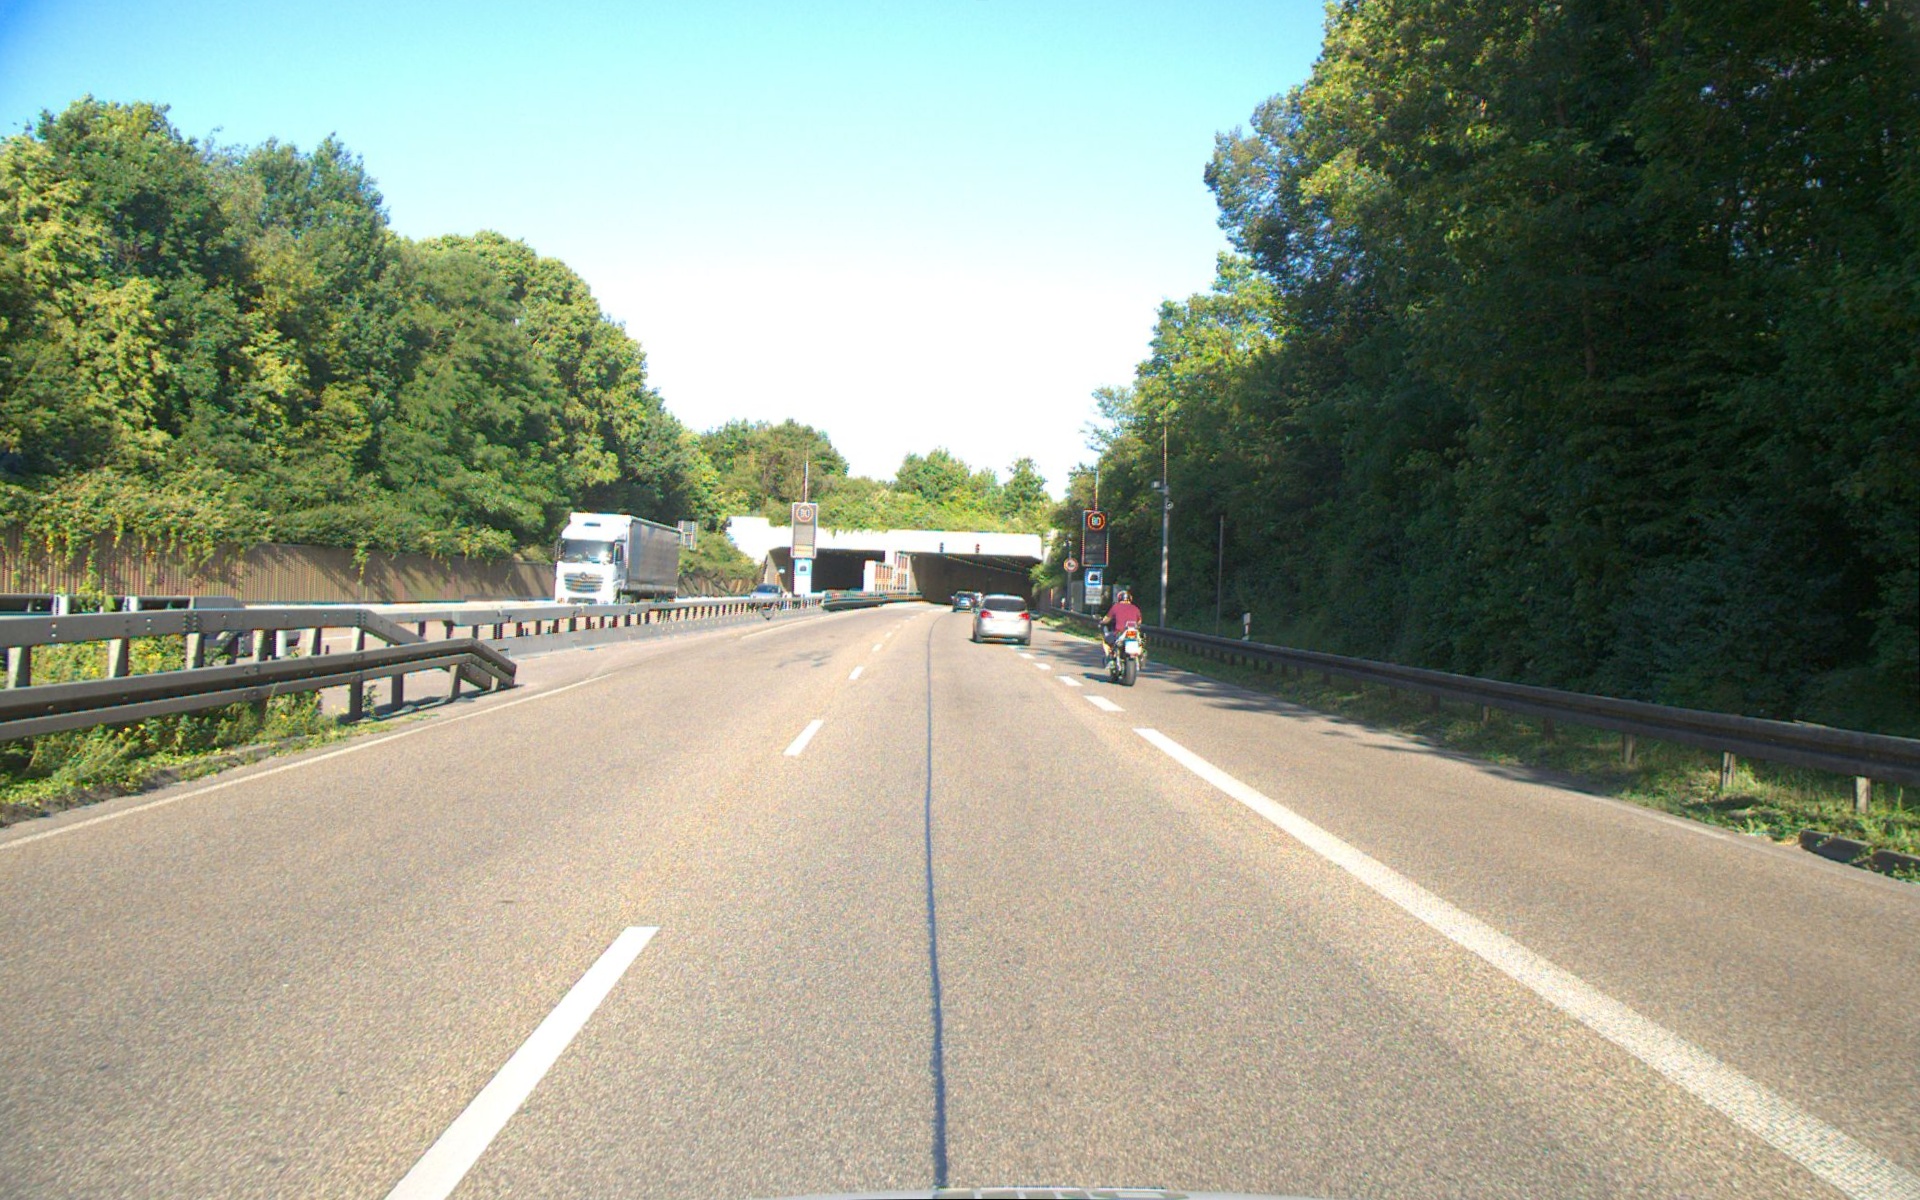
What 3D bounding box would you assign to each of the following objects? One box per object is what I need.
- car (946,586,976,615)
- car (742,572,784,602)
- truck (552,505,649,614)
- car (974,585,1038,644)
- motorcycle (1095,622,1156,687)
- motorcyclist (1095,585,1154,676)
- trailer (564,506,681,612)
[{"bbox_3d":[0.035,0.007,119.537,1.953,1.959,3.999,2,1,-2],"label":"car"},{"bbox_3d":[-12.239,-0.841,103.110,1.953,1.686,4.938,4,1,-1],"label":"car"},{"bbox_3d":[-15.437,-1.744,71.438,2.681,4.335,6.386,4,1,-2],"label":"truck"},{"bbox_3d":[1.387,0.410,51.162,1.634,1.578,3.999,4,1,-2],"label":"car"},{"bbox_3d":[2.909,0.939,29.326,0.841,1.008,2.729,3,0,2],"label":"motorcycle"},{"bbox_3d":[2.921,0.524,29.444,0.865,1.527,1.063,4,1,1],"label":"motorcyclist"},{"bbox_3d":[-15.624,-1.926,77.740,2.692,4.353,14.082,4,1,-1],"label":"trailer"}]
